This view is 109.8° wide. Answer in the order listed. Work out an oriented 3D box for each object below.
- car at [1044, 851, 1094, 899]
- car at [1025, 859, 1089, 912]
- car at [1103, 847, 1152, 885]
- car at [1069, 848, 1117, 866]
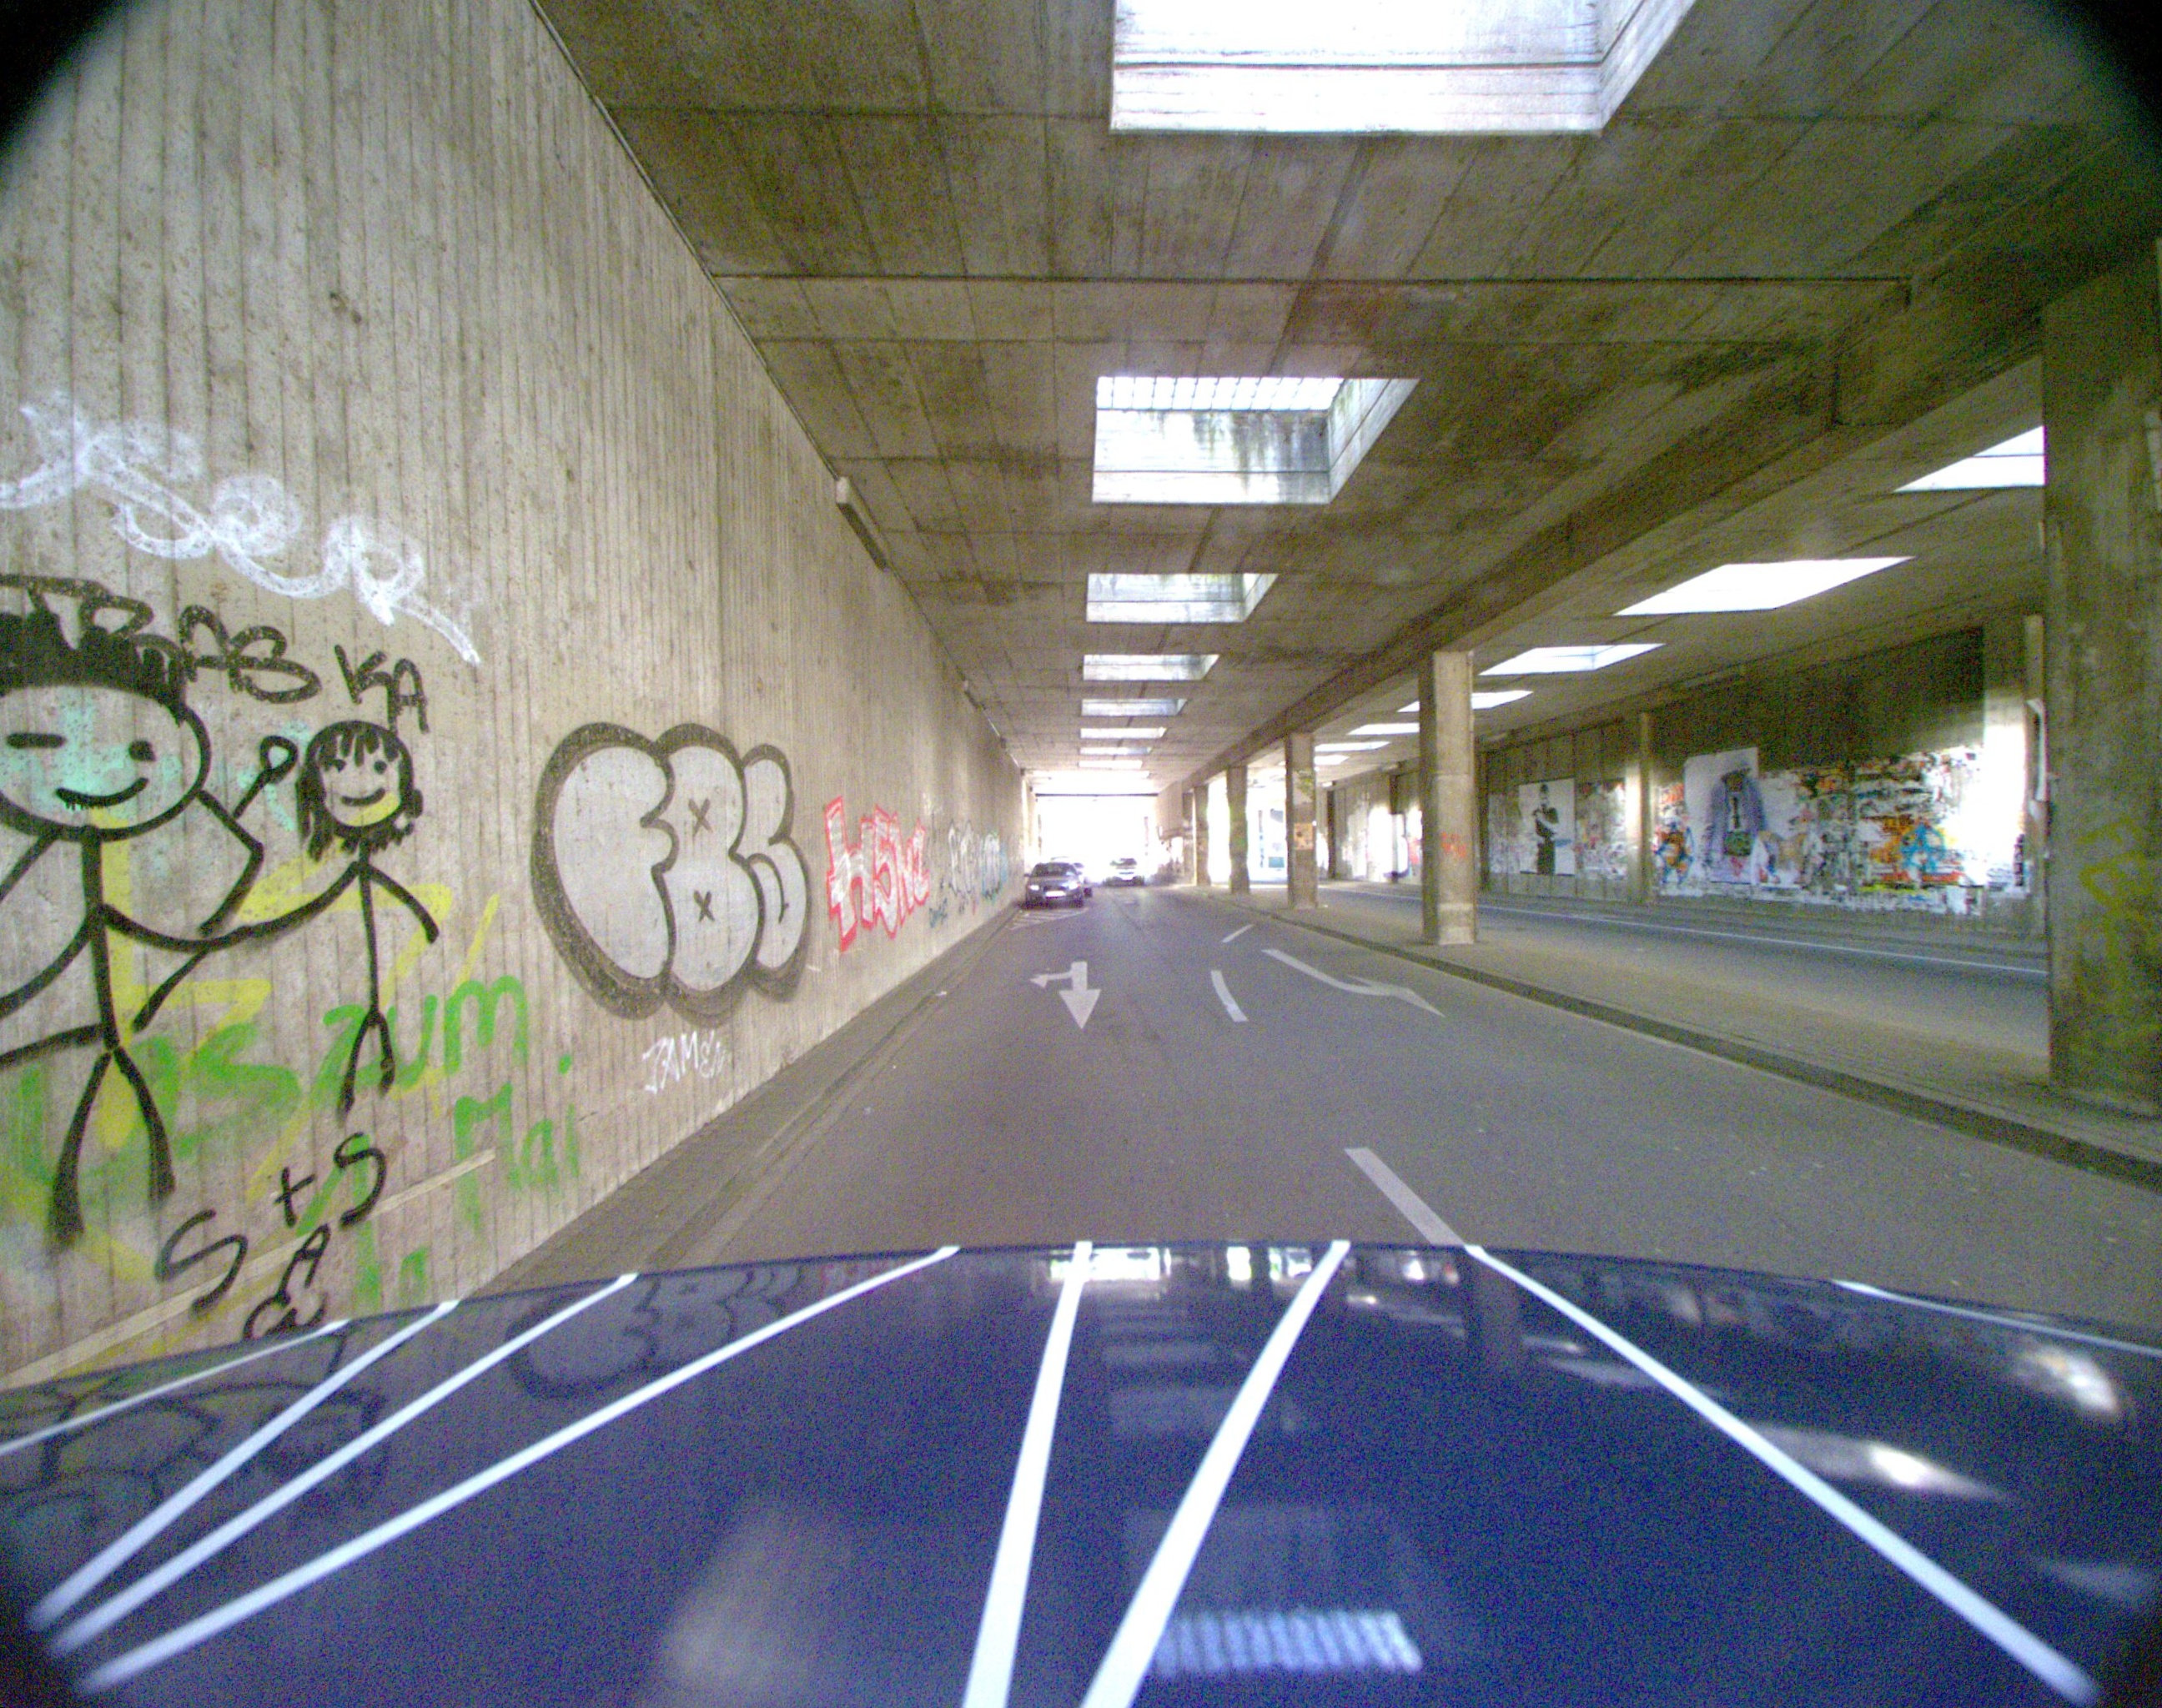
[{"bbox_3d":[-0.501,0.764,29.864,1.767,1.634,3.999,-2,1,-2],"label":"car"},{"bbox_3d":[-0.677,0.921,23.926,1.767,1.407,3.999,-2,1,1],"label":"car"},{"bbox_3d":[2.291,0.566,38.952,1.999,1.740,4.858,-2,1,-2],"label":"car"},{"bbox_3d":[1.243,0.296,78.964,4.857,1.740,1.999,-2,1,-2],"label":"car"}]
